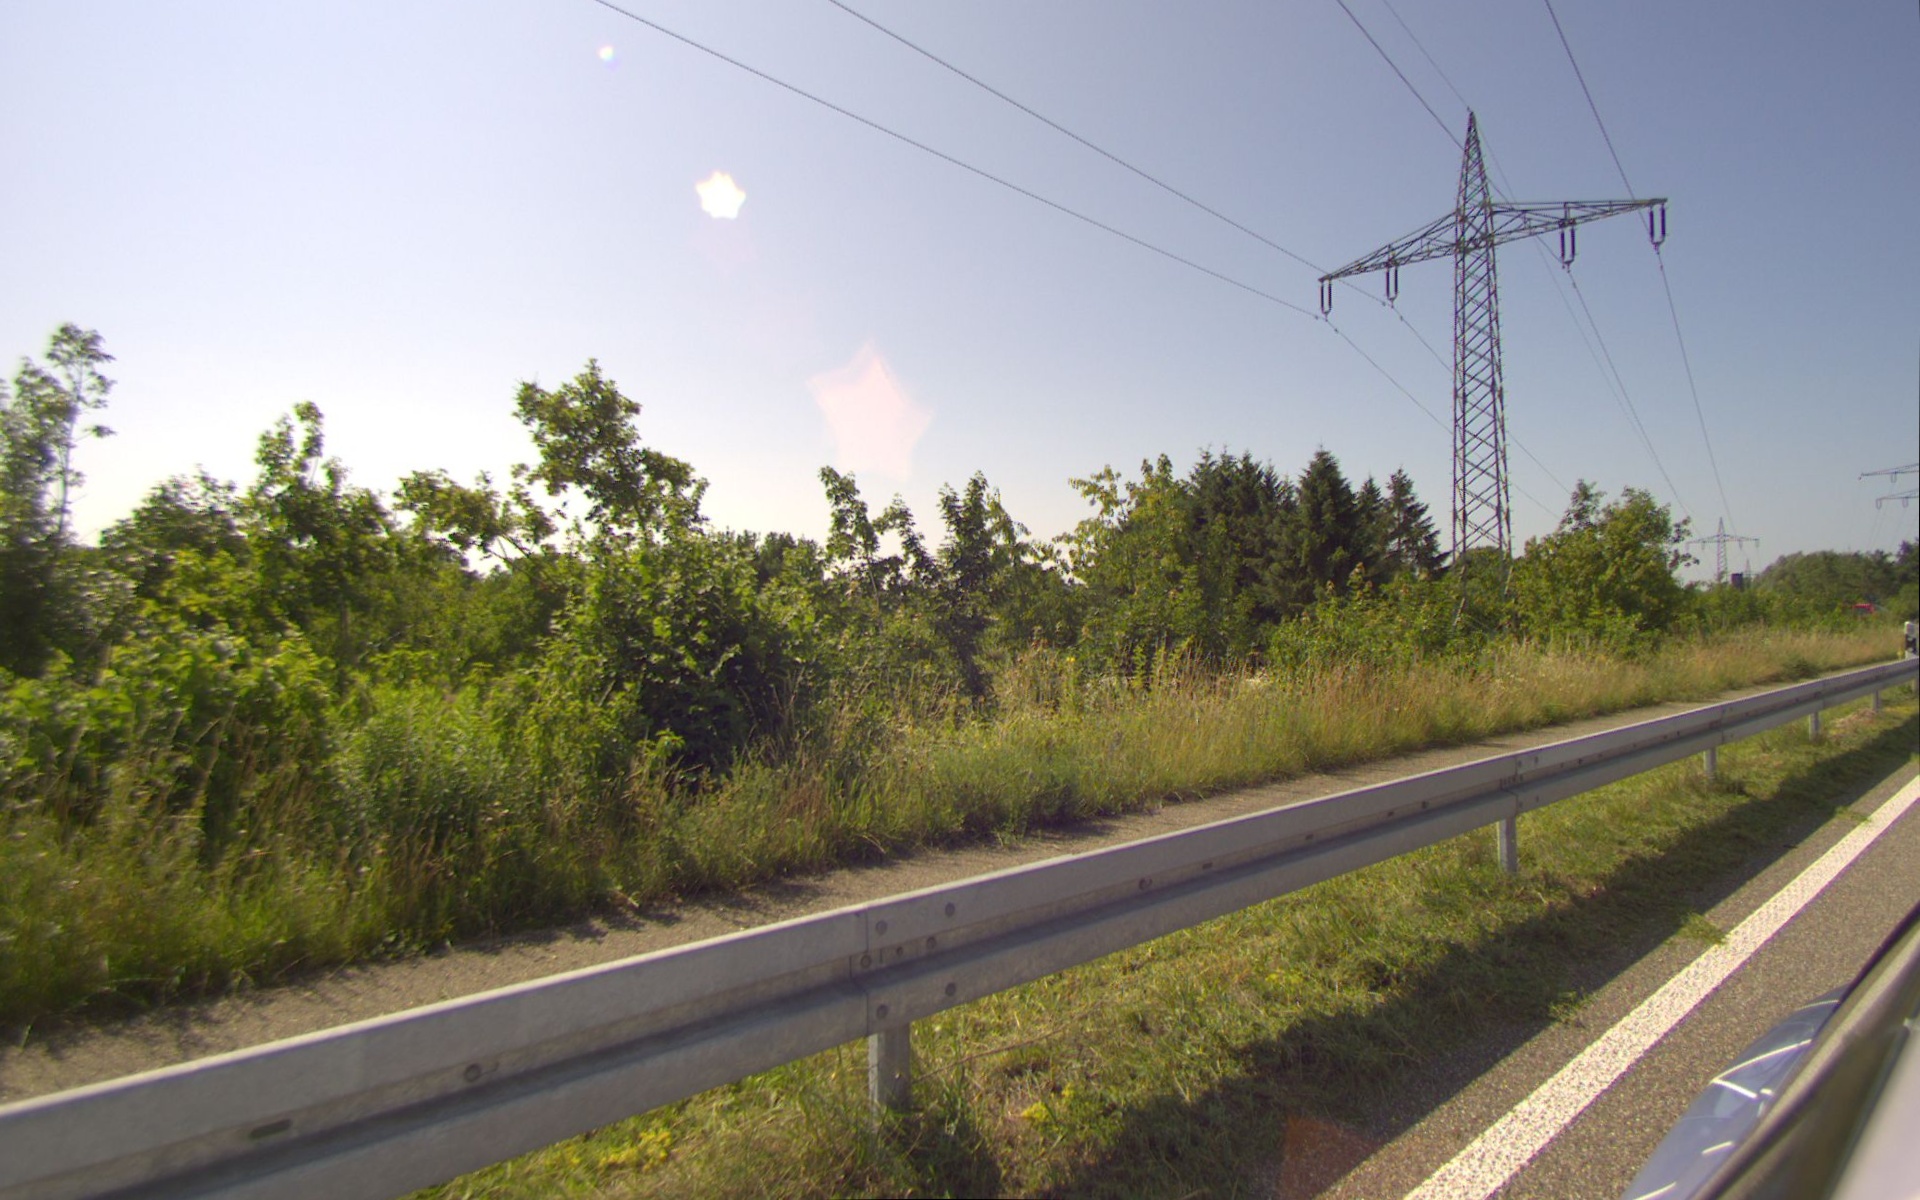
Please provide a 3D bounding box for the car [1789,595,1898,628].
[{"bbox_3d":[55.859,0.697,64.083,1.759,1.927,4.845,1,1,-28],"label":"car"}]
